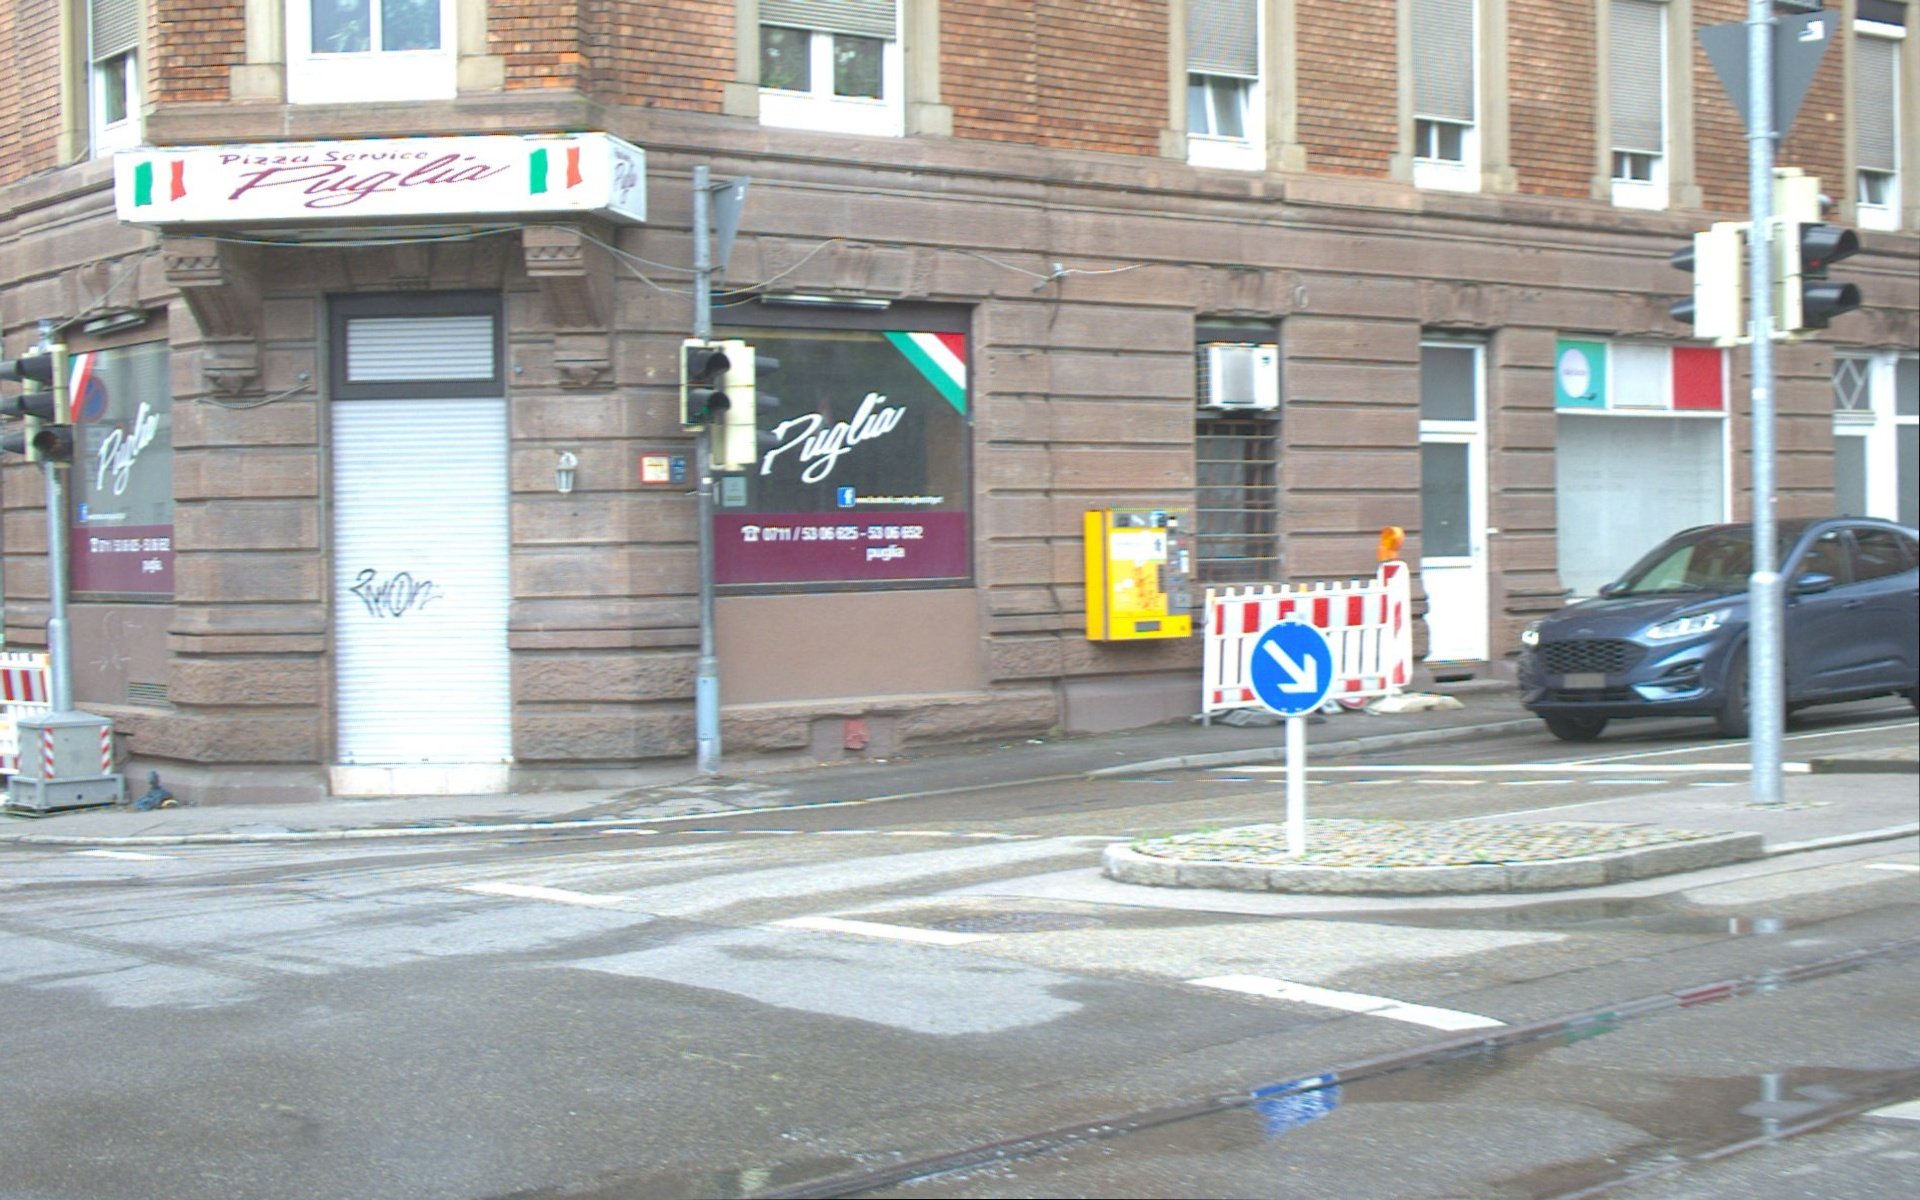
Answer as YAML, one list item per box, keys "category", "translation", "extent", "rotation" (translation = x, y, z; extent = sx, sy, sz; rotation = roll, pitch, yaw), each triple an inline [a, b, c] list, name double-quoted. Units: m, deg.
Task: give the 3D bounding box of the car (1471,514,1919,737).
- category: "car"
  translation: [6.152, 0.161, 26.976]
  extent: [4.275, 1.510, 1.998]
  rotation: [-3, 0, -45]
